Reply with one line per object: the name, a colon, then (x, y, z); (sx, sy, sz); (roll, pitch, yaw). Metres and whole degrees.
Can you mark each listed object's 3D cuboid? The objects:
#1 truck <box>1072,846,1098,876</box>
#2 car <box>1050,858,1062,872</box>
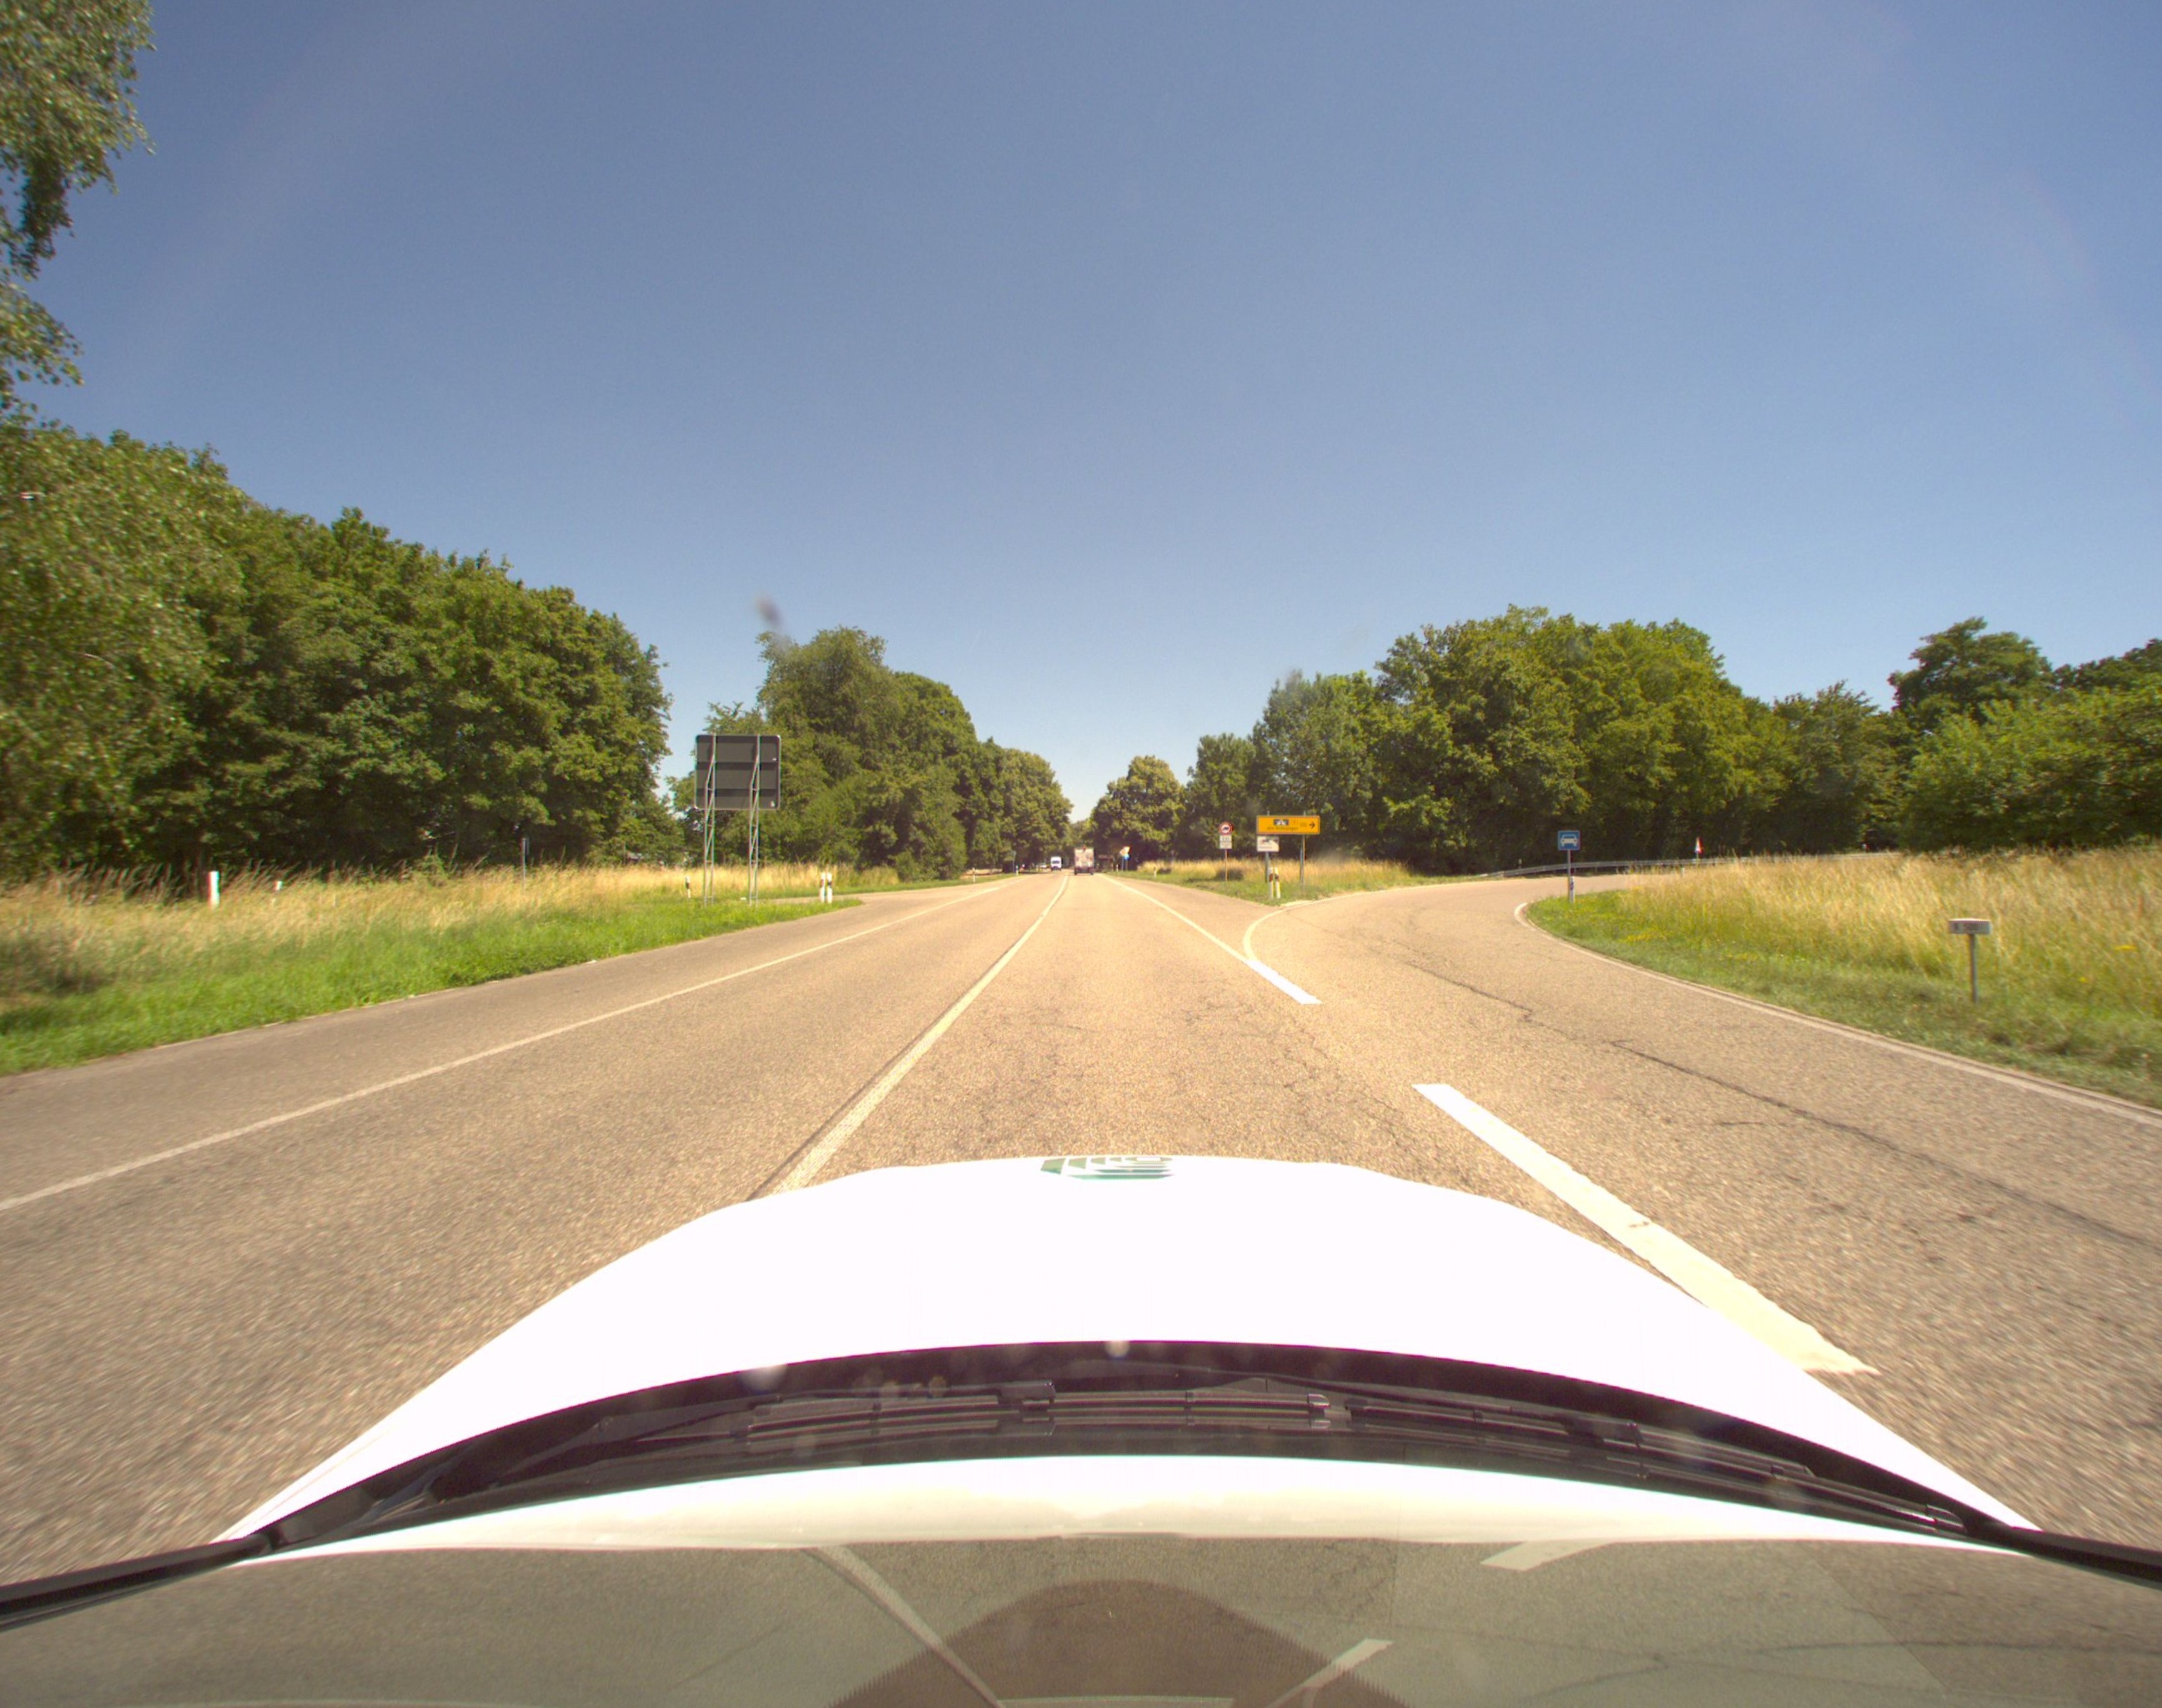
truck: (0.498, 0.703, 89.327); (2.523, 3.135, 5.366); (-1, 0, 3)
car: (-4.848, 2.214, 160.531); (2.066, 2.628, 6.784); (-1, -1, 1)
